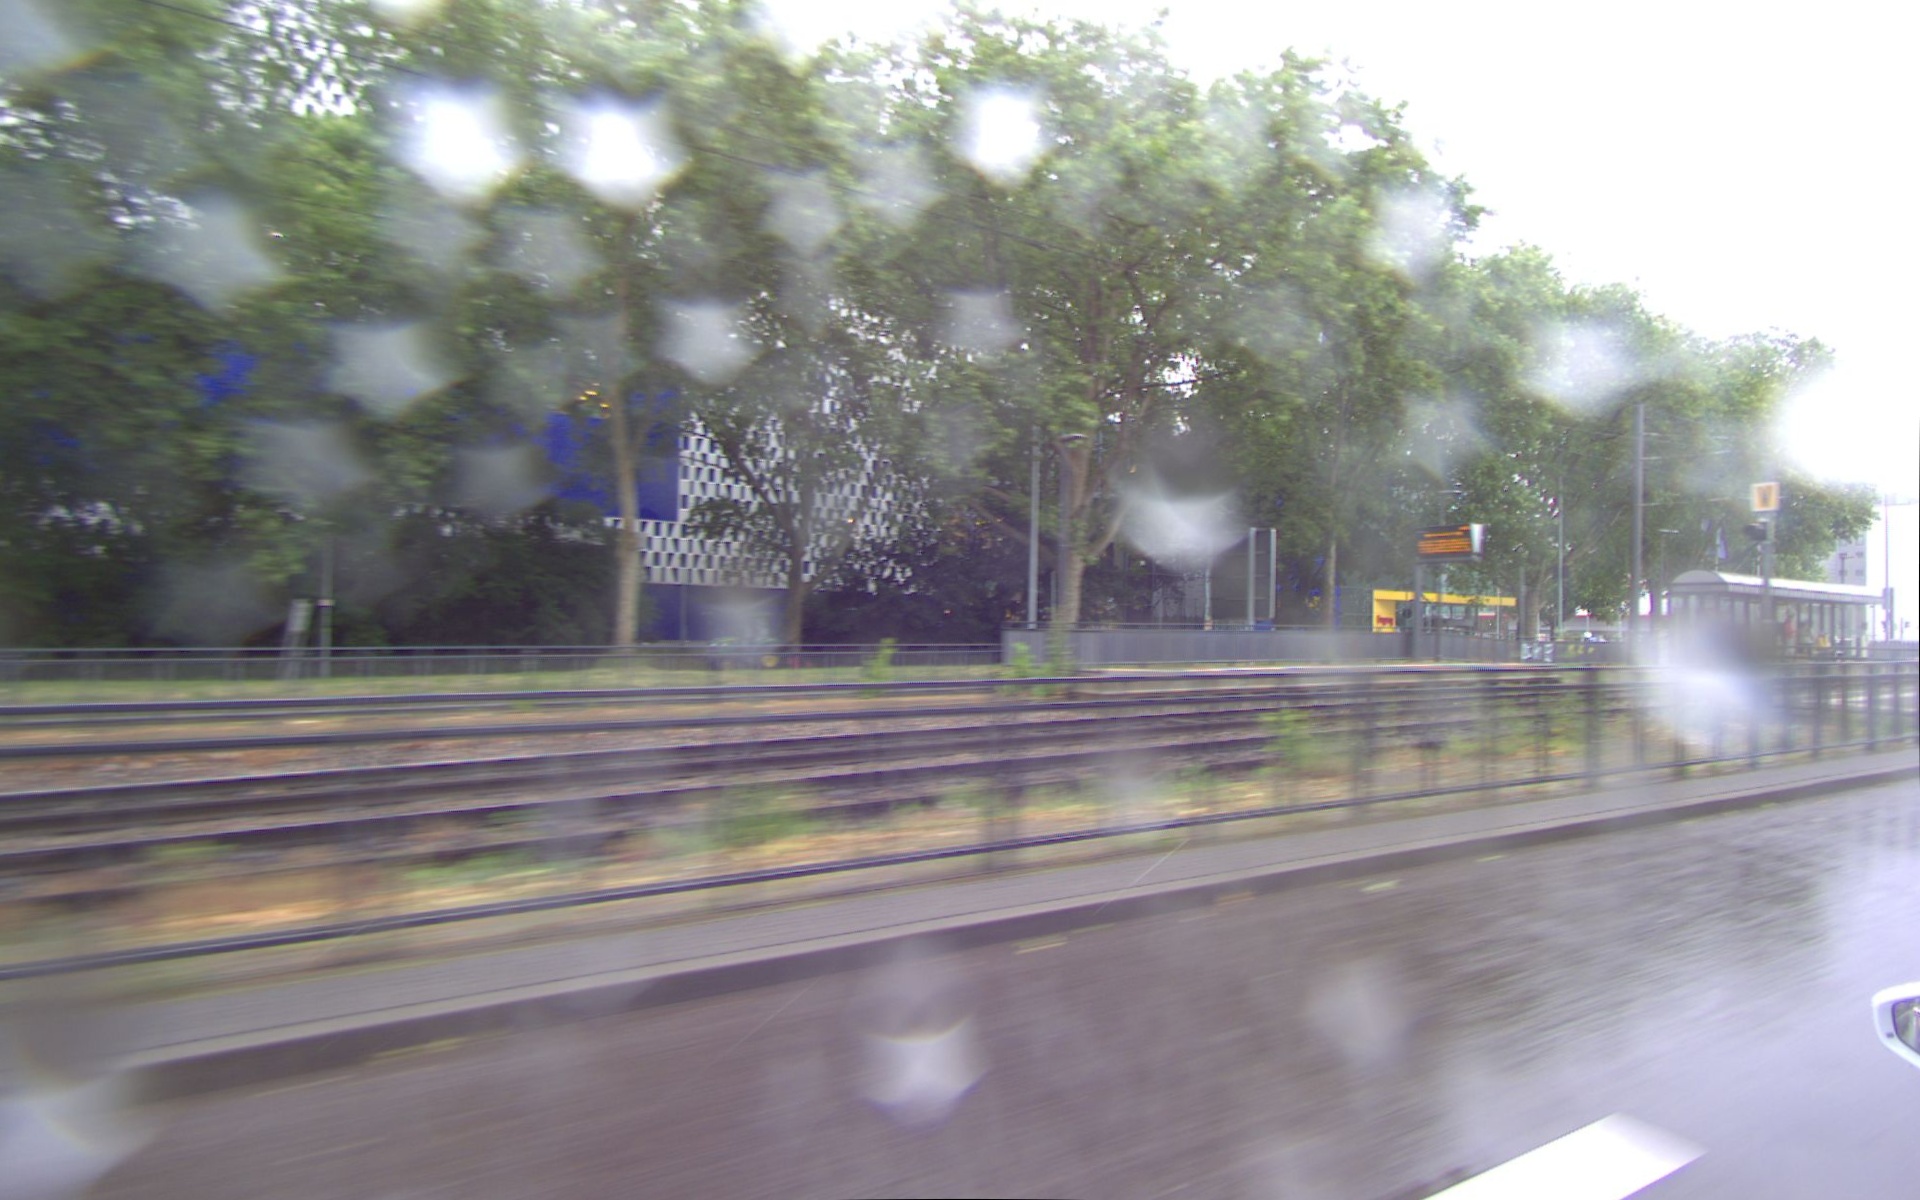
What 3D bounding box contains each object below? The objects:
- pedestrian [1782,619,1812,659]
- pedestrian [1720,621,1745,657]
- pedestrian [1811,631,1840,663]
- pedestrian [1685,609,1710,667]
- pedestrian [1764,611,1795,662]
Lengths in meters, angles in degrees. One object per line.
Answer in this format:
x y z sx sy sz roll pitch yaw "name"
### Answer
34.330 1.604 41.221 0.814 1.582 0.671 2 1 34 "pedestrian"
28.478 1.440 37.030 0.655 1.284 0.491 2 1 -27 "pedestrian"
36.558 1.997 42.427 0.804 1.320 0.640 2 1 -27 "pedestrian"
26.424 1.357 36.000 0.576 2.040 0.490 2 1 -30 "pedestrian"
31.967 1.431 39.189 0.804 1.959 0.619 2 1 -27 "pedestrian"
